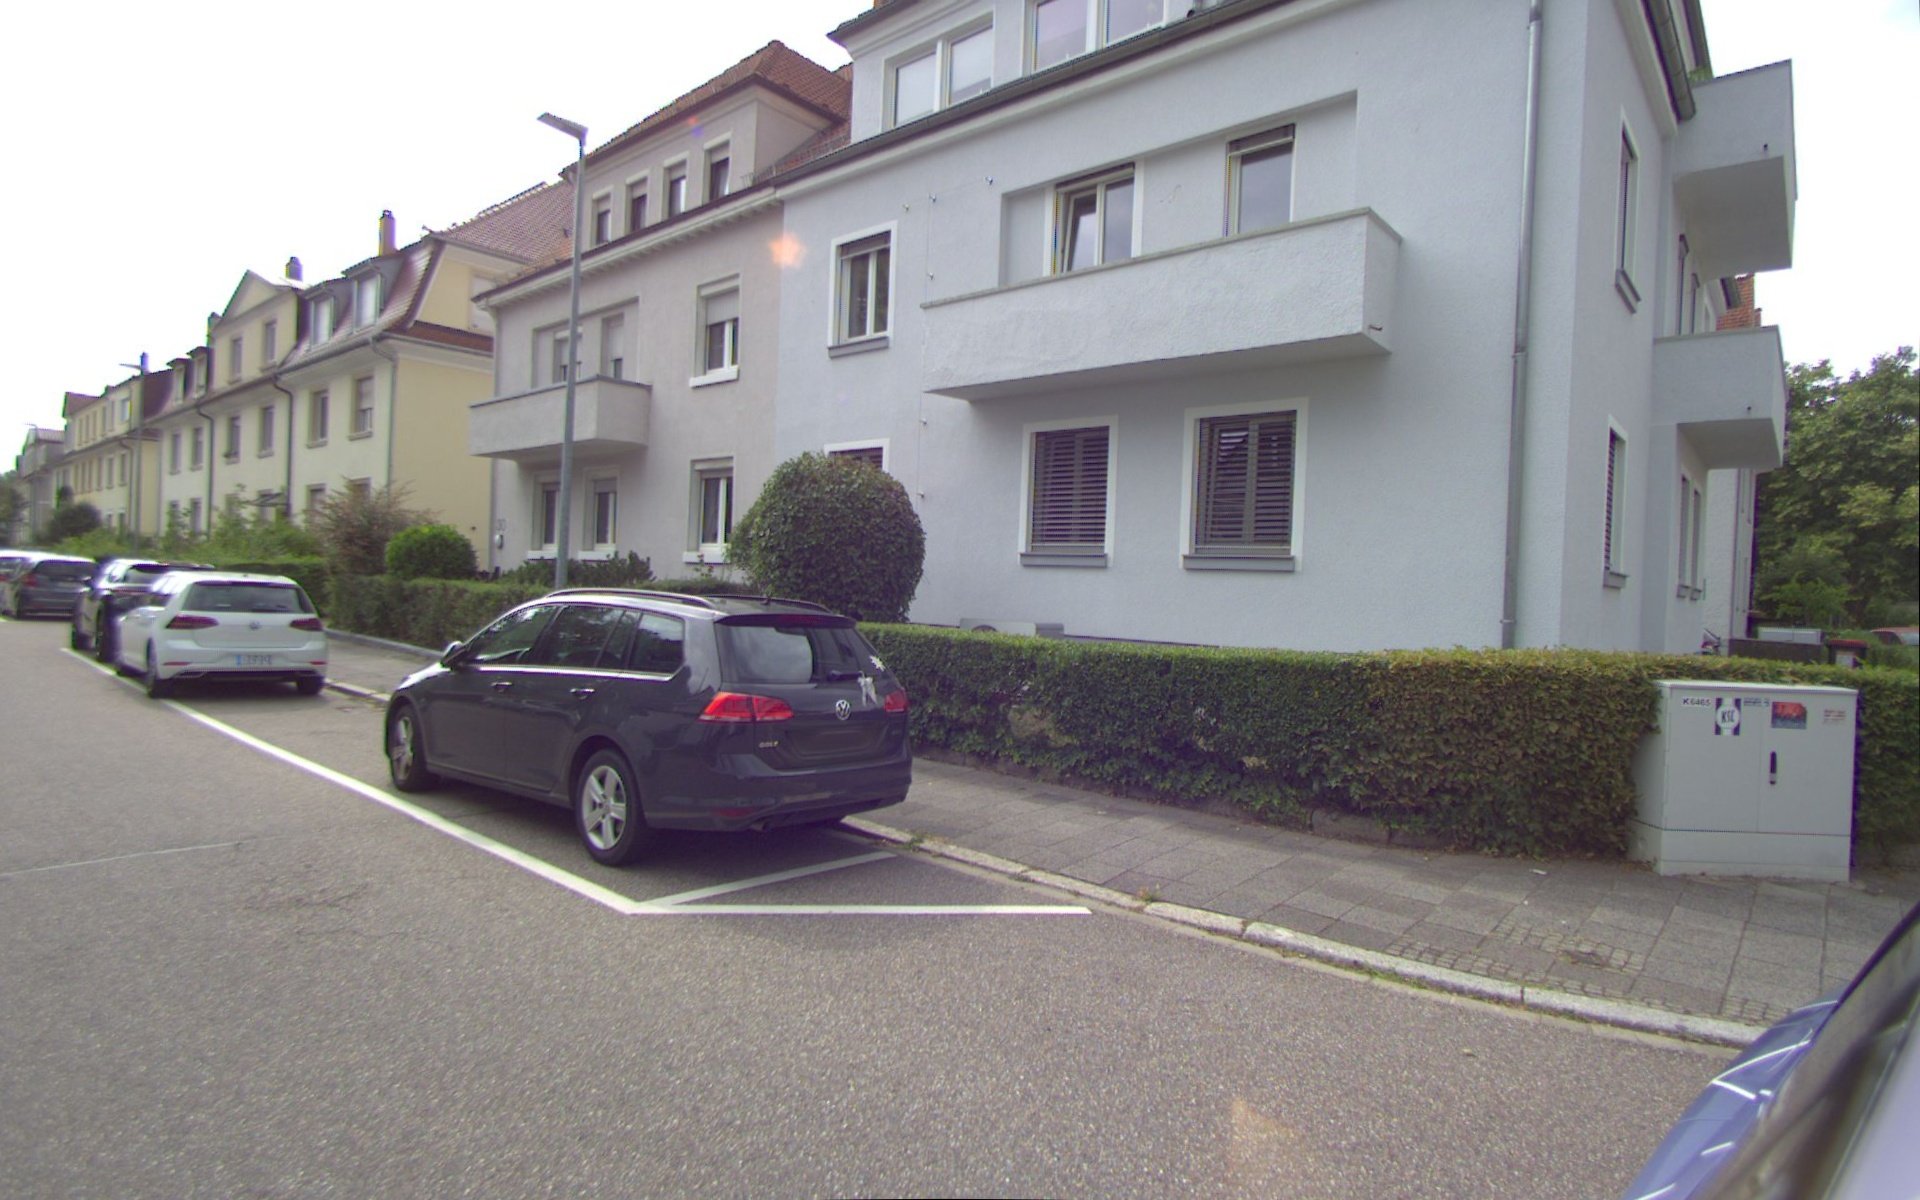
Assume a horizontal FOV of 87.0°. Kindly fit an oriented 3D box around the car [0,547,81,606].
[{"bbox_3d":[-25.763,-0.677,27.935,4.161,1.490,1.831,3,1,43],"label":"car"}]

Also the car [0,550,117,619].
[{"bbox_3d":[-21.748,-0.409,24.292,4.161,1.490,1.831,3,1,43],"label":"car"}]

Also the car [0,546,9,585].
[{"bbox_3d":[-38.136,-1.391,39.034,4.161,1.490,1.831,3,1,43],"label":"car"}]

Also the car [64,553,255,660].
[{"bbox_3d":[-13.093,0.038,16.466,4.161,1.490,1.831,3,1,43],"label":"car"}]

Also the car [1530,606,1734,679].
[{"bbox_3d":[16.699,0.998,25.238,3.986,1.482,1.969,3,1,42],"label":"car"}]

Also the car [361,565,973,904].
[{"bbox_3d":[-2.124,0.591,6.738,4.154,1.490,1.834,3,1,39],"label":"car"}]

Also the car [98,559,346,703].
[{"bbox_3d":[-9.614,0.290,13.055,4.161,1.490,1.831,3,1,43],"label":"car"}]

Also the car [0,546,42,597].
[{"bbox_3d":[-30.105,-0.930,31.579,4.161,1.490,1.831,3,1,43],"label":"car"}]

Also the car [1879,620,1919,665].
[{"bbox_3d":[33.679,1.467,34.936,1.630,1.515,3.458,-1,-1,20],"label":"car"}]

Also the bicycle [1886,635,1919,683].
[{"bbox_3d":[24.452,1.506,26.219,0.421,1.117,2.087,2,1,37],"label":"bicycle"}]
